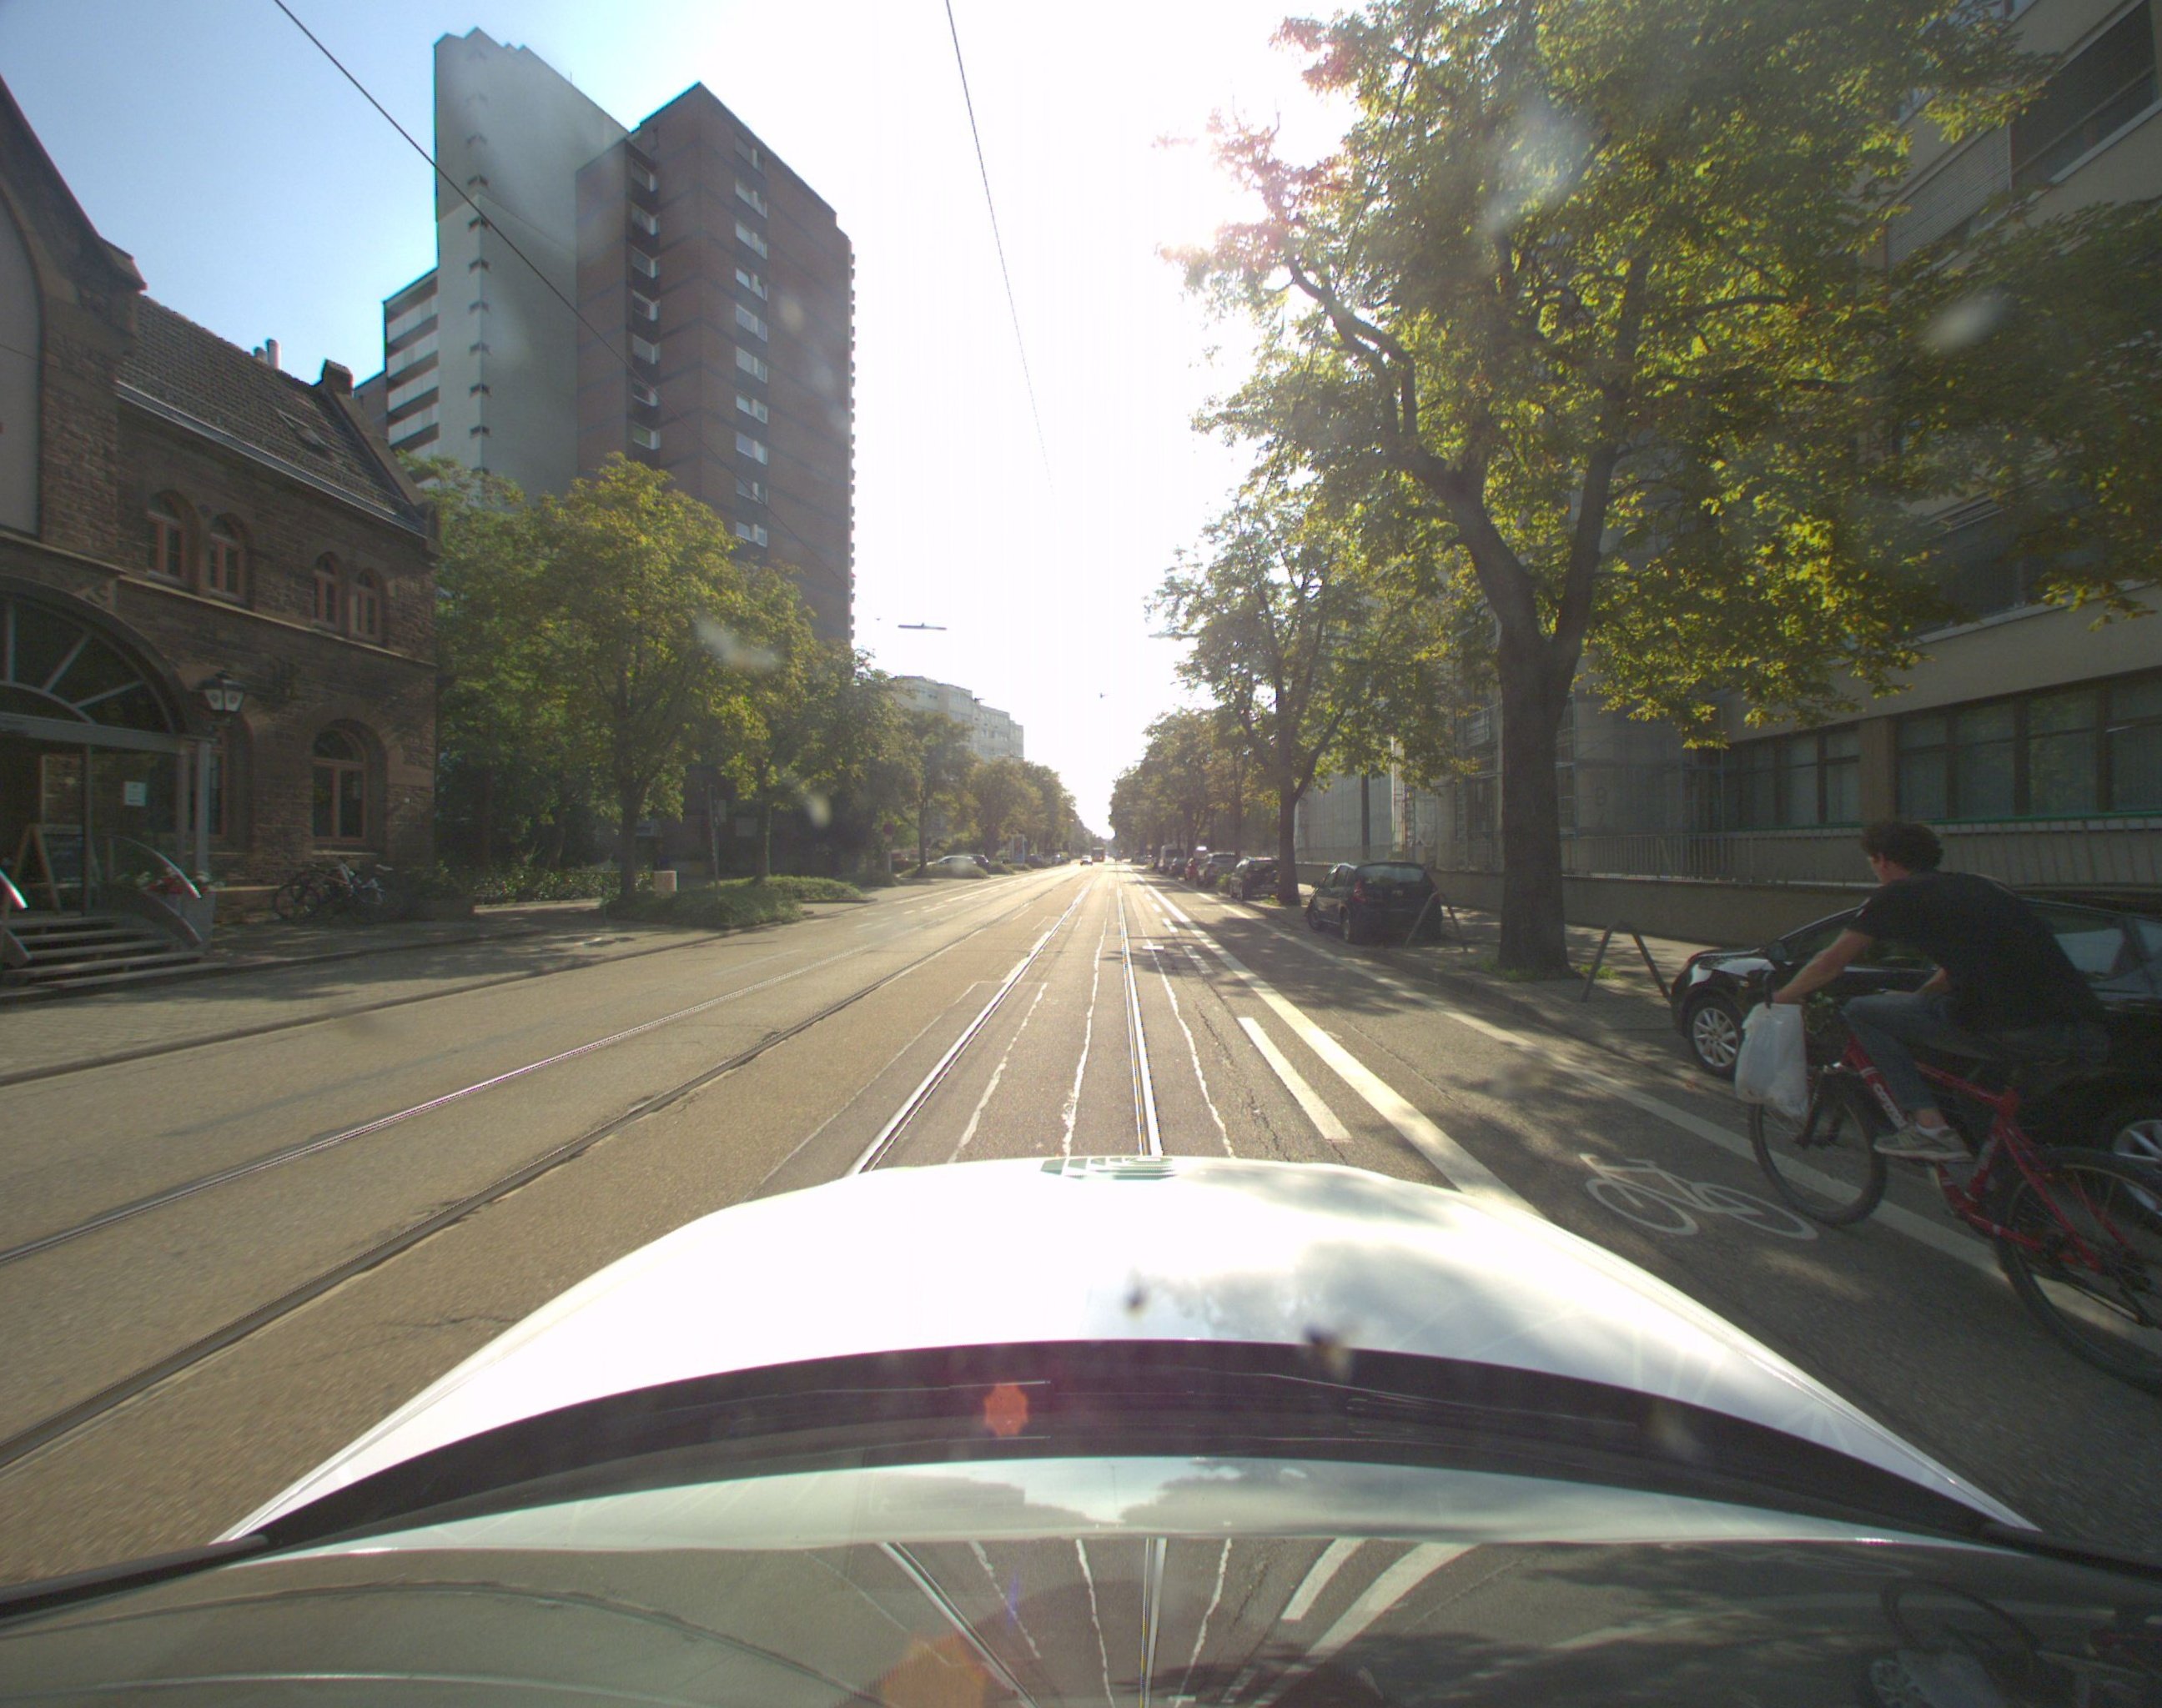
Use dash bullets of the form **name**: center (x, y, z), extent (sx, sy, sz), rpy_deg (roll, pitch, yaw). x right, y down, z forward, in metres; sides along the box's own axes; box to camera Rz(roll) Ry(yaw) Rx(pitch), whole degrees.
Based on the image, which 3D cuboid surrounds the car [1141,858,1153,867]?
- **car**: center (9.959, 1.271, 123.111), extent (1.682, 1.418, 3.637), rpy_deg (0, 0, 3)

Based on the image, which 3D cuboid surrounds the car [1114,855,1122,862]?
- **car**: center (9.371, 1.090, 204.760), extent (1.985, 1.838, 4.004), rpy_deg (0, 0, 3)

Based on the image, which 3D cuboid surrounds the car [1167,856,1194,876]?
- **car**: center (7.293, 0.882, 60.193), extent (1.610, 1.374, 4.831), rpy_deg (-1, 0, 3)

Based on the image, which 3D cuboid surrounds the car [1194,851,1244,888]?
- **car**: center (6.609, 0.694, 39.438), extent (1.747, 1.691, 4.396), rpy_deg (0, 0, 0)

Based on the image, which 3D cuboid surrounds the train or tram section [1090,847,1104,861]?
- **train or tram section**: center (3.639, 0.038, 182.005), extent (2.718, 2.894, 15.463), rpy_deg (-1, 0, 2)

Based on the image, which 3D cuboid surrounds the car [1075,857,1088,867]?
- **car**: center (0.083, 1.217, 121.622), extent (1.821, 1.376, 4.514), rpy_deg (0, 0, 2)

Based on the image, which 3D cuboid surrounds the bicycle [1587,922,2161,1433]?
- **bicycle**: center (3.068, 0.936, 3.261), extent (0.783, 1.144, 2.307), rpy_deg (0, 0, 4)

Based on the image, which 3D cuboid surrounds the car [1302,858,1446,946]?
- **car**: center (5.718, 0.859, 16.365), extent (1.639, 1.511, 3.781), rpy_deg (-2, 0, 3)

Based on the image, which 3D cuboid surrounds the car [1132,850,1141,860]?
- **car**: center (13.071, 0.275, 191.933), extent (1.996, 2.475, 4.481), rpy_deg (0, 0, 3)

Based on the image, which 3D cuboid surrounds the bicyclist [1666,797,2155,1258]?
- **bicyclist**: center (3.065, 0.559, 3.182), extent (0.783, 1.470, 1.117), rpy_deg (0, -1, 4)

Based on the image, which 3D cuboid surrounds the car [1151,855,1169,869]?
- **car**: center (8.712, 0.860, 89.812), extent (1.746, 1.377, 4.722), rpy_deg (-2, 0, 3)

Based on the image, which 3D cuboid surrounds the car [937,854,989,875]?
- **car**: center (-8.955, 0.771, 61.792), extent (3.649, 1.515, 1.609), rpy_deg (1, 0, -23)

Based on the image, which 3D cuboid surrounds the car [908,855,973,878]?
- **car**: center (-9.481, 0.834, 54.967), extent (4.009, 1.479, 1.773), rpy_deg (0, 0, -28)

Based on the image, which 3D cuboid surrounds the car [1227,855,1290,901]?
- **car**: center (6.285, 0.806, 29.147), extent (1.569, 1.485, 3.741), rpy_deg (-2, 0, 3)

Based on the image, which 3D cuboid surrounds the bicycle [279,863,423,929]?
- **bicycle**: center (-13.051, 0.751, 14.610), extent (1.808, 1.074, 0.418), rpy_deg (4, -2, -20)

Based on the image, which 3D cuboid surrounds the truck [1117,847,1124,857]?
- **truck**: center (12.260, -0.571, 254.473), extent (1.854, 3.131, 4.352), rpy_deg (0, 0, 0)

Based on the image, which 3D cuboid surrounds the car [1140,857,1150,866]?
- **car**: center (10.706, 1.258, 136.685), extent (1.588, 1.418, 3.637), rpy_deg (0, 0, 3)

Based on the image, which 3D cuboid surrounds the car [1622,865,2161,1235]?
- **car**: center (5.285, 0.830, 4.710), extent (1.640, 1.428, 4.086), rpy_deg (-2, 0, 1)

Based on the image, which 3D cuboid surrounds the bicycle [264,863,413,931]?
- **bicycle**: center (-12.875, 0.748, 14.177), extent (1.808, 1.074, 0.418), rpy_deg (4, -2, -20)

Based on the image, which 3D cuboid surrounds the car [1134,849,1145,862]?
- **car**: center (11.822, 0.373, 164.986), extent (1.996, 2.491, 4.480), rpy_deg (-1, -2, 3)

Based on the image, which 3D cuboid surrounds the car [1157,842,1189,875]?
- **car**: center (7.894, 0.391, 70.528), extent (2.075, 2.552, 5.502), rpy_deg (-4, 0, 1)

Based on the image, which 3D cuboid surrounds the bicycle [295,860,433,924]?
- **bicycle**: center (-13.201, 0.712, 15.049), extent (1.808, 1.074, 0.418), rpy_deg (4, -2, -20)

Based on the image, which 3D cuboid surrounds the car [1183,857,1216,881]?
- **car**: center (7.272, 0.889, 50.130), extent (1.610, 1.413, 4.003), rpy_deg (-1, 0, 3)
